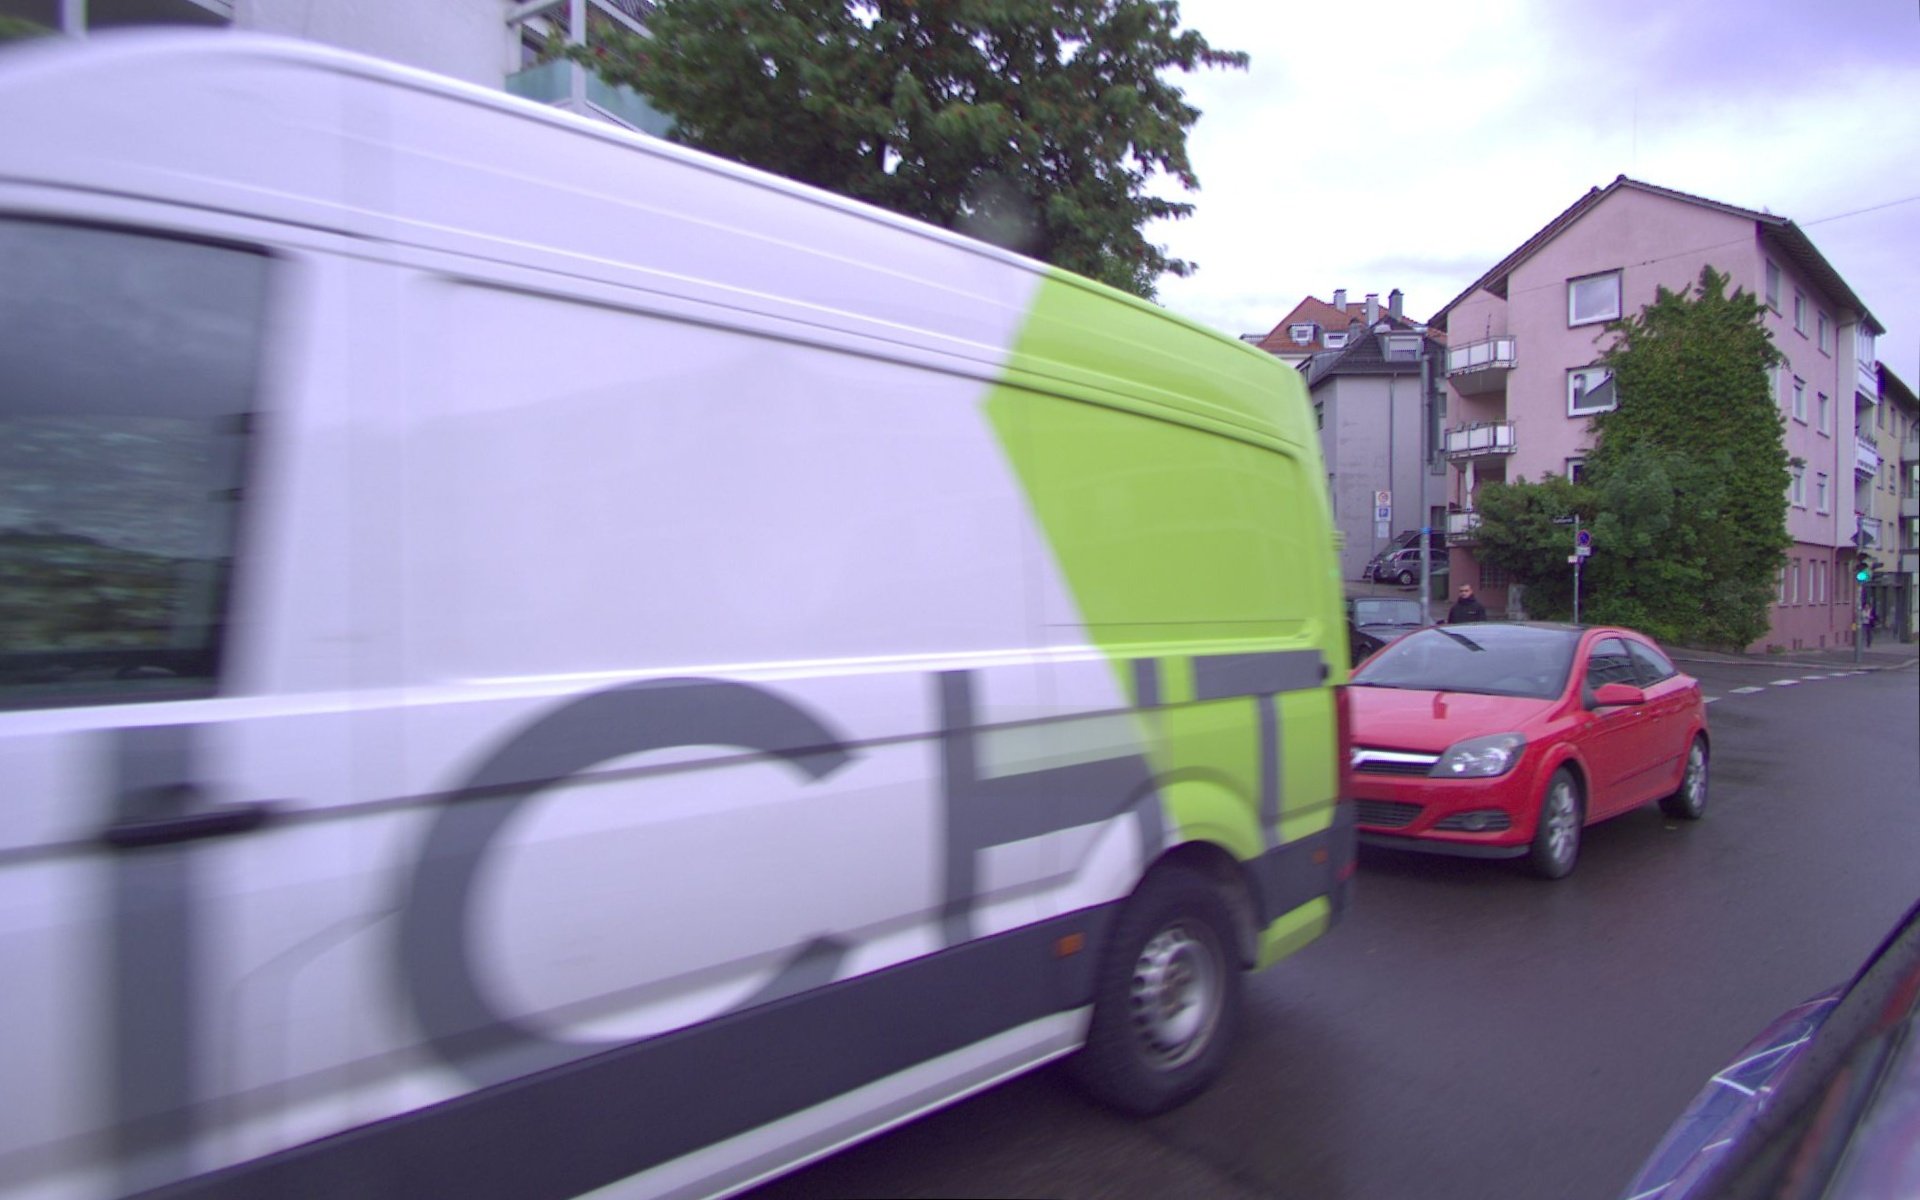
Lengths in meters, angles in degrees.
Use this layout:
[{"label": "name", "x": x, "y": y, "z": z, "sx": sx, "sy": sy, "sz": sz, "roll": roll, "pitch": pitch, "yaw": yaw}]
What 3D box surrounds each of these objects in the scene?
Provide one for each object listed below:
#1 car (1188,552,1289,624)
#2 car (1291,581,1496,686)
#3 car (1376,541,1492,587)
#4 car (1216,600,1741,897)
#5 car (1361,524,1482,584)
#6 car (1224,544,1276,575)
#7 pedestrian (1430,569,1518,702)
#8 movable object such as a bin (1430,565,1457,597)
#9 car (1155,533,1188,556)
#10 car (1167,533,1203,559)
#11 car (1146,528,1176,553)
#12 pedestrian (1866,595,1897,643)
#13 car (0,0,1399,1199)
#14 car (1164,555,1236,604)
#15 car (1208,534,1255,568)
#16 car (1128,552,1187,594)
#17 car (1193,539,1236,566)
[{"label": "car", "x": 7.916, "y": -0.420, "z": 29.219, "sx": 1.792, "sy": 1.761, "sz": 4.416, "roll": 1, "pitch": 4, "yaw": 2}, {"label": "car", "x": 7.248, "y": 0.462, "z": 17.447, "sx": 1.719, "sy": 1.409, "sz": 4.279, "roll": 1, "pitch": 3, "yaw": 1}, {"label": "car", "x": 21.178, "y": -1.624, "z": 45.359, "sx": 4.186, "sy": 1.884, "sz": 1.953, "roll": 1, "pitch": 5, "yaw": 2}, {"label": "car", "x": 3.708, "y": 0.745, "z": 6.915, "sx": 4.128, "sy": 1.439, "sz": 1.724, "roll": 1, "pitch": -1, "yaw": -40}, {"label": "car", "x": 21.682, "y": -2.203, "z": 47.758, "sx": 4.513, "sy": 2.622, "sz": 2.336, "roll": 1, "pitch": 5, "yaw": 5}, {"label": "car", "x": 15.434, "y": -2.193, "z": 54.002, "sx": 1.652, "sy": 1.471, "sz": 3.919, "roll": 2, "pitch": 5, "yaw": 1}, {"label": "pedestrian", "x": 7.065, "y": 0.467, "z": 13.922, "sx": 0.889, "sy": 1.736, "sz": 0.725, "roll": 2, "pitch": 1, "yaw": -40}, {"label": "movable object such as a bin", "x": 18.594, "y": -0.730, "z": 38.909, "sx": 0.754, "sy": 1.171, "sz": 0.740, "roll": 3, "pitch": 4, "yaw": 39}, {"label": "car", "x": 16.965, "y": -4.503, "z": 81.384, "sx": 1.766, "sy": 1.717, "sz": 4.002, "roll": 2, "pitch": 5, "yaw": 1}, {"label": "car", "x": 16.804, "y": -4.065, "z": 75.763, "sx": 1.766, "sy": 1.717, "sz": 4.002, "roll": 2, "pitch": 5, "yaw": 1}, {"label": "car", "x": 17.274, "y": -5.127, "z": 87.020, "sx": 1.766, "sy": 1.978, "sz": 4.002, "roll": 2, "pitch": 5, "yaw": 1}, {"label": "pedestrian", "x": 35.893, "y": 0.731, "z": 39.412, "sx": 0.735, "sy": 1.795, "sz": 0.715, "roll": 2, "pitch": 2, "yaw": -41}, {"label": "car", "x": -1.328, "y": 0.155, "z": 2.701, "sx": 5.972, "sy": 2.495, "sz": 2.209, "roll": 1, "pitch": -1, "yaw": -41}, {"label": "car", "x": 8.431, "y": -0.770, "z": 35.921, "sx": 1.767, "sy": 1.471, "sz": 4.000, "roll": 1, "pitch": 4, "yaw": 3}, {"label": "car", "x": 15.685, "y": -2.852, "z": 58.689, "sx": 1.652, "sy": 1.787, "sz": 3.919, "roll": 2, "pitch": 5, "yaw": 1}, {"label": "car", "x": 8.115, "y": -1.142, "z": 41.868, "sx": 1.652, "sy": 1.471, "sz": 4.341, "roll": 0, "pitch": 5, "yaw": 1}, {"label": "car", "x": 16.174, "y": -3.036, "z": 64.523, "sx": 1.766, "sy": 1.528, "sz": 4.002, "roll": 2, "pitch": 5, "yaw": 1}]
